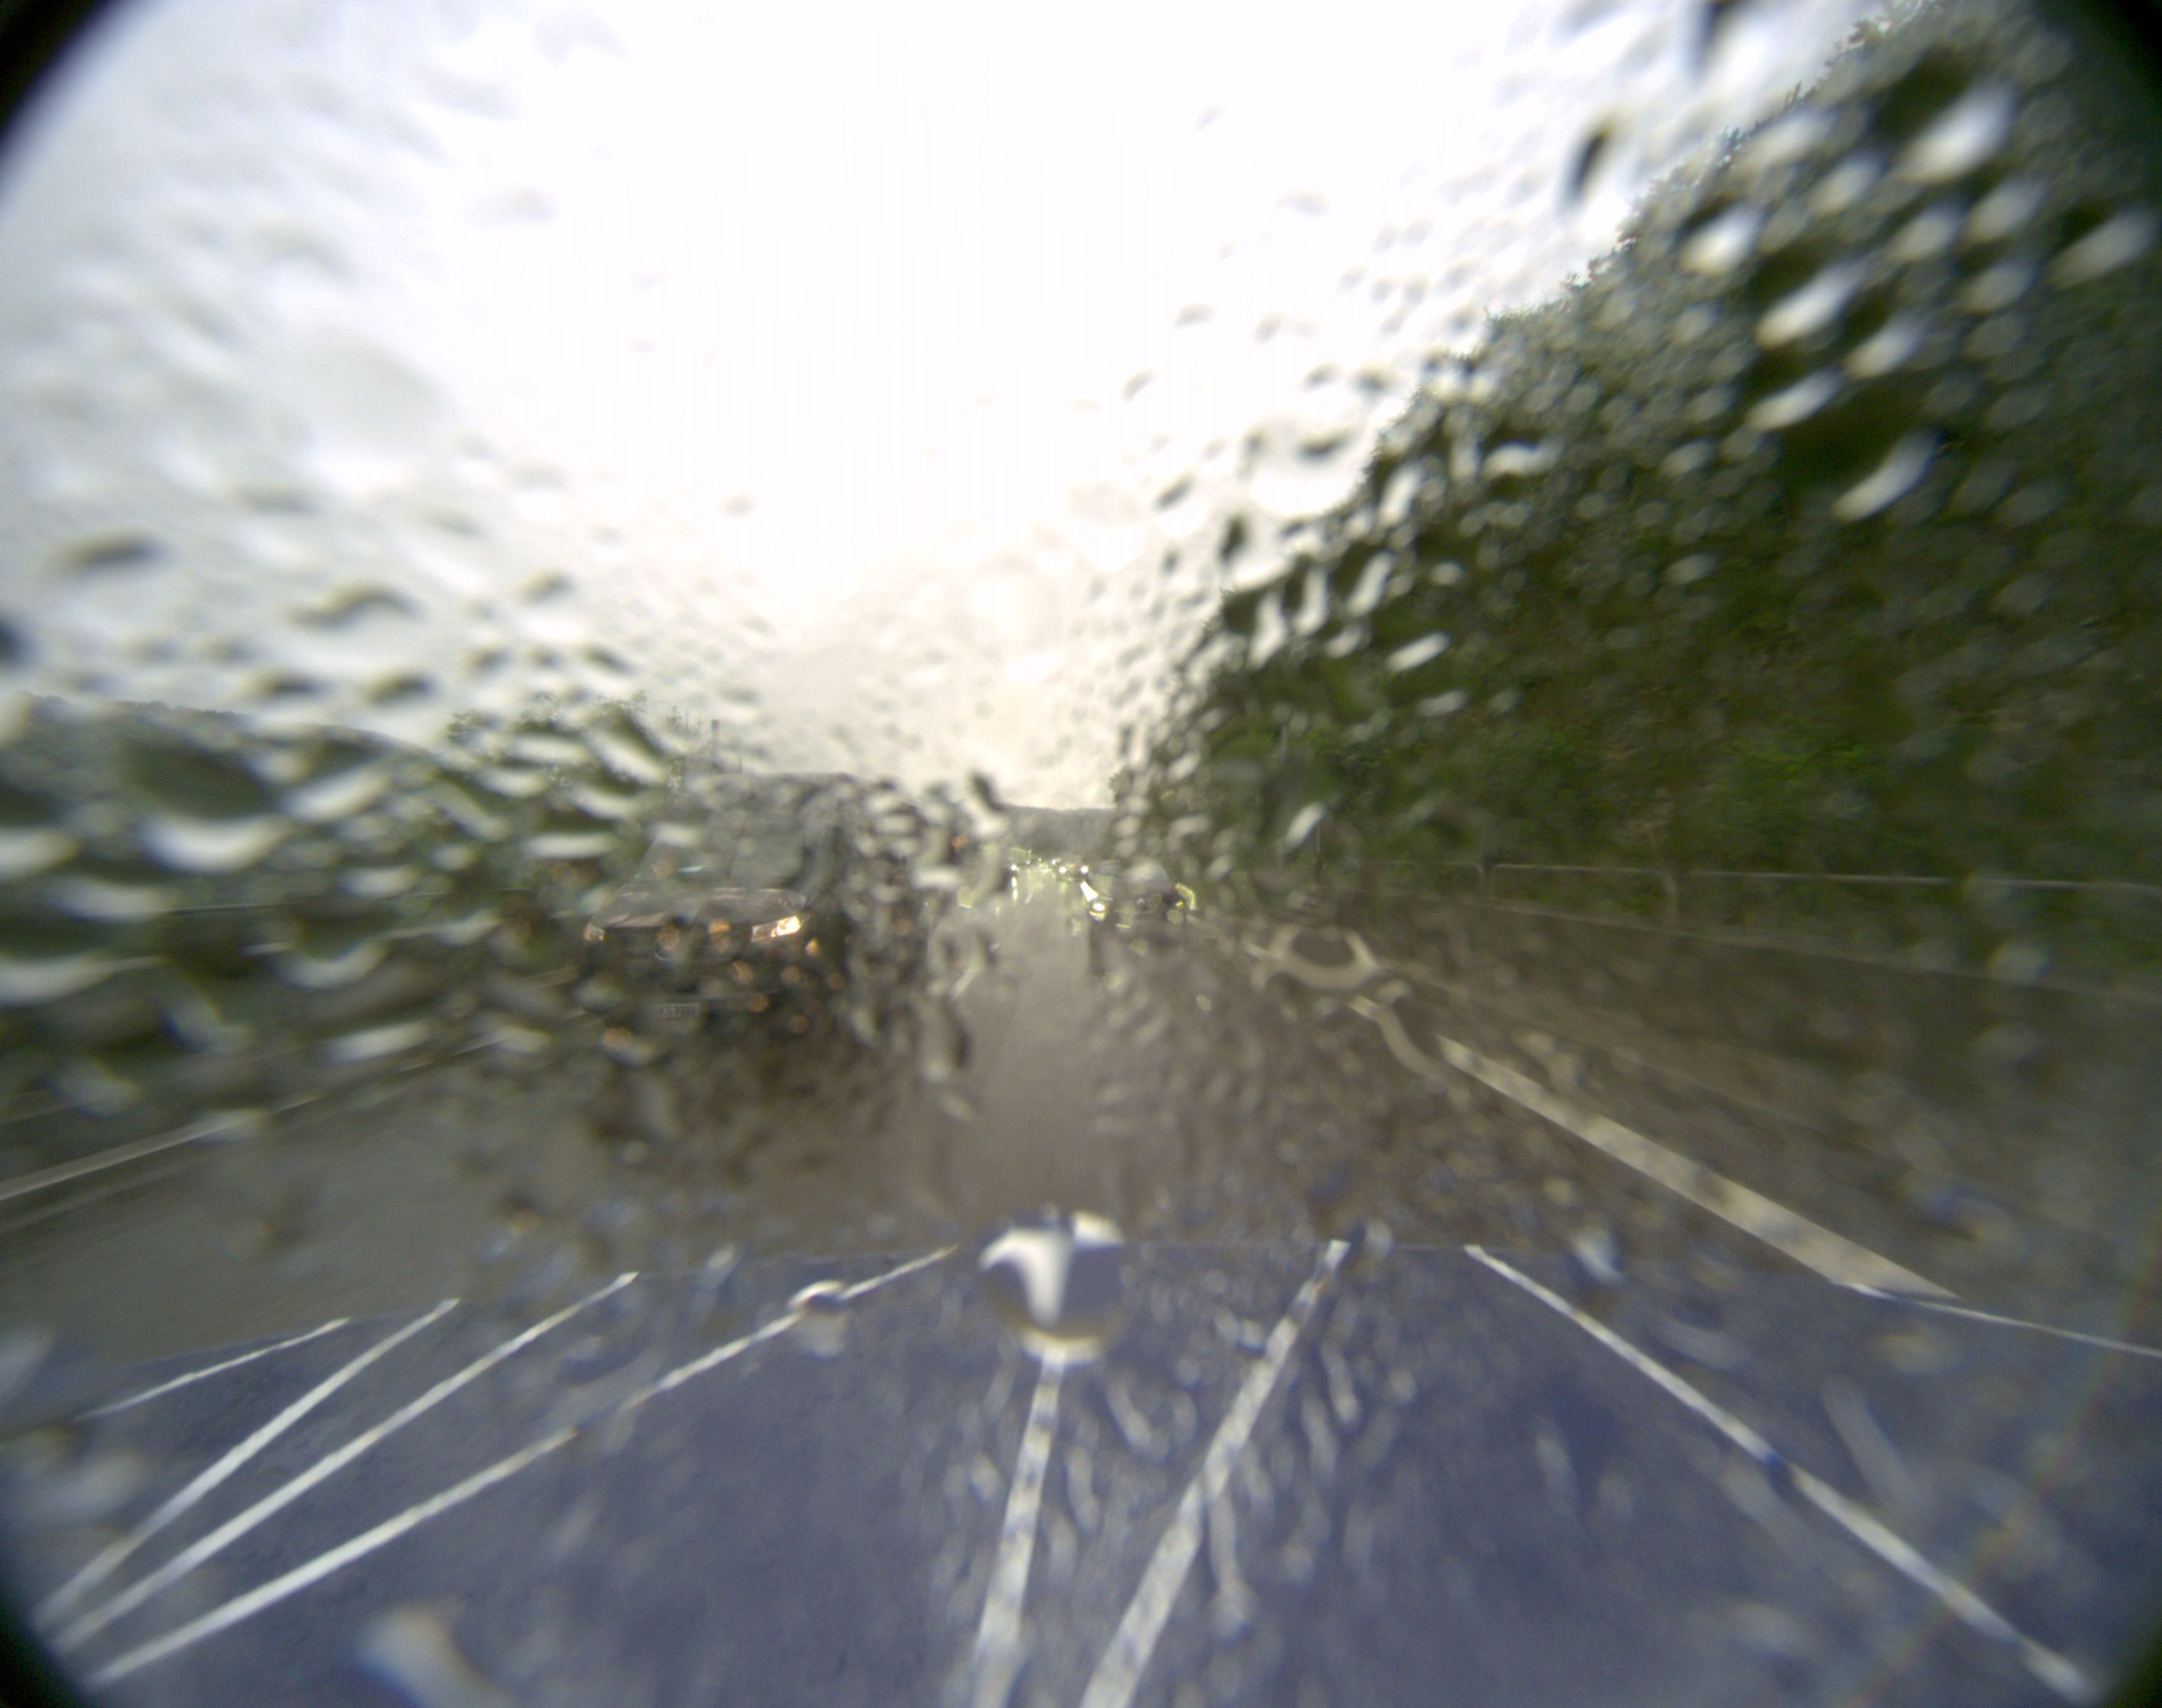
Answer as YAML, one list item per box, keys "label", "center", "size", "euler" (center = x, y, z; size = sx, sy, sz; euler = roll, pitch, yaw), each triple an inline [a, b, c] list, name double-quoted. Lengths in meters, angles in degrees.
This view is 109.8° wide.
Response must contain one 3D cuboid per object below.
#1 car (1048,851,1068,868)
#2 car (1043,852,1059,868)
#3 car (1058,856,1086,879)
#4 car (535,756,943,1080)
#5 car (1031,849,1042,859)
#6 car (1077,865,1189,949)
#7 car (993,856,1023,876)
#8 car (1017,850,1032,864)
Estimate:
- label: "car"
  center: [-2.275, 0.504, 75.156]
  size: [1.907, 1.545, 4.563]
  euler: [1, 0, -2]
- label: "car"
  center: [-3.480, 0.635, 88.563]
  size: [1.805, 1.723, 3.764]
  euler: [2, 1, -3]
- label: "car"
  center: [-0.599, 0.824, 48.093]
  size: [1.713, 1.316, 3.944]
  euler: [0, 0, -2]
- label: "car"
  center: [-3.282, 0.484, 9.324]
  size: [1.999, 2.480, 6.703]
  euler: [-2, 0, -1]
- label: "car"
  center: [-7.638, -0.035, 129.688]
  size: [1.711, 1.609, 3.341]
  euler: [2, 1, -2]
- label: "car"
  center: [0.907, 0.946, 15.323]
  size: [1.839, 1.316, 4.134]
  euler: [-2, 0, -1]
- label: "car"
  center: [-5.677, 0.903, 59.455]
  size: [1.991, 1.407, 4.563]
  euler: [1, 0, -1]
- label: "car"
  center: [-7.250, 0.367, 98.312]
  size: [1.765, 1.851, 3.767]
  euler: [0, 0, -2]
